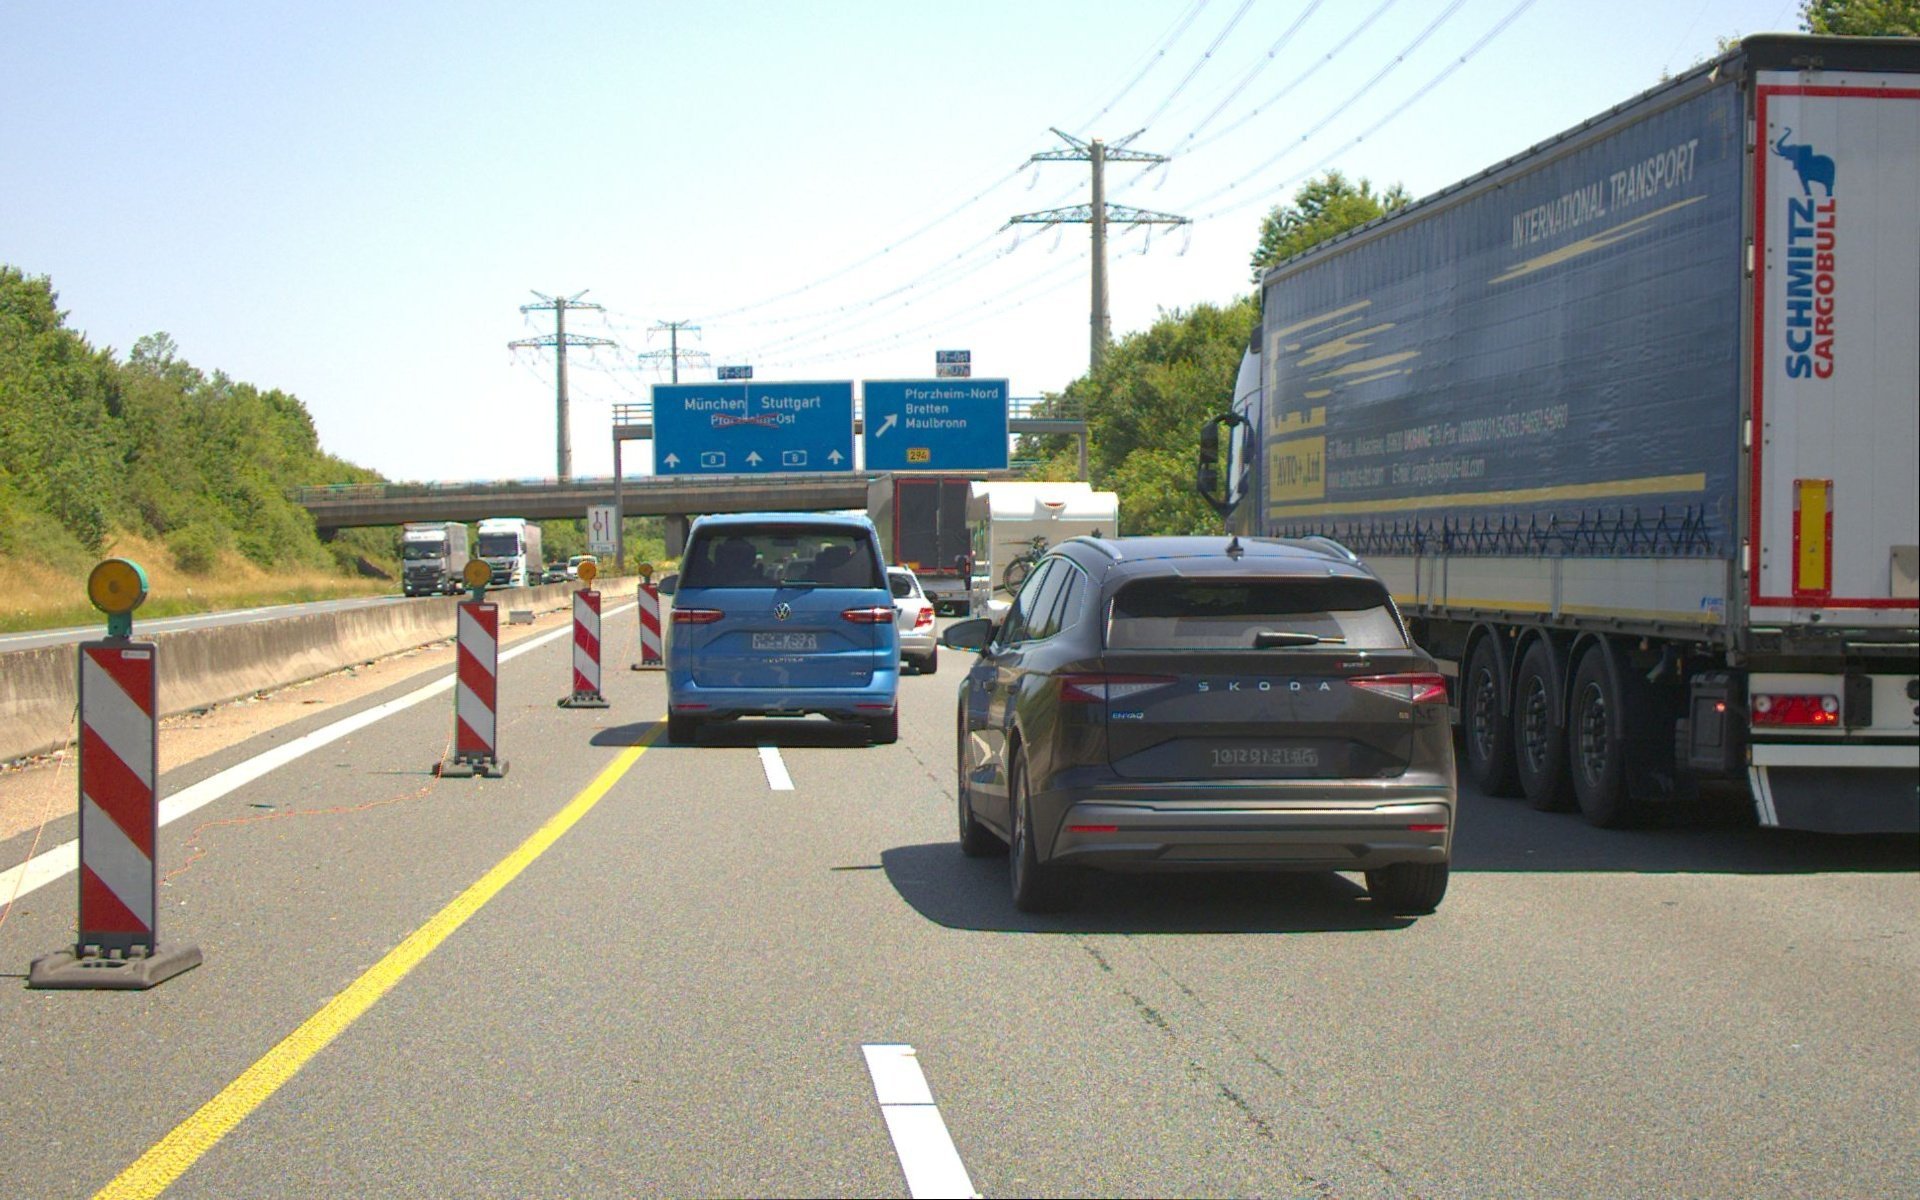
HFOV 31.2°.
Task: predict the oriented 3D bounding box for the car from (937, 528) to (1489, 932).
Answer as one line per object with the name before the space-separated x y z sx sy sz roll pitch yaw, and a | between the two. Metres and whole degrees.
car | 0.994 0.468 15.820 1.895 1.586 4.443 0 1 -4

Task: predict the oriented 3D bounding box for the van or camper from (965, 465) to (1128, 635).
van or camper | 1.513 -0.923 62.922 2.586 2.958 6.085 0 1 -2

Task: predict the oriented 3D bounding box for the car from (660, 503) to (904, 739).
car | -1.567 0.172 29.358 1.895 1.835 4.443 1 0 -4

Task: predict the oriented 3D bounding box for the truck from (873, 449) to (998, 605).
truck | -0.820 -2.026 98.694 3.077 4.132 13.055 1 1 -2

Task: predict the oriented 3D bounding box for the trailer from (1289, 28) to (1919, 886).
trailer | 4.651 -0.757 21.992 3.064 4.029 11.490 0 1 -5

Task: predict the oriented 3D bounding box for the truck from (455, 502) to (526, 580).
truck | -26.351 -3.313 193.166 3.163 4.210 7.416 -1 1 -2

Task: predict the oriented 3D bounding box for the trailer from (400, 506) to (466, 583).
trailer | -30.062 -3.183 196.589 2.480 4.165 12.087 -3 1 -4

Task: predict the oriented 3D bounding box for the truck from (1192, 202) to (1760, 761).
truck | 4.048 -0.916 29.058 3.024 4.073 7.797 0 1 -5

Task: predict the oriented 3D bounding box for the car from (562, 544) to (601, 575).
car | -22.258 -2.385 202.263 1.866 1.786 5.455 -1 1 -3

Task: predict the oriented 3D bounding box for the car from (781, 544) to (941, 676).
car | -1.383 0.089 46.288 1.895 1.504 4.444 2 2 -4

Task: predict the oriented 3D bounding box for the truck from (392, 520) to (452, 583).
truck | -29.543 -2.664 188.924 2.464 3.277 6.925 -3 1 -4
